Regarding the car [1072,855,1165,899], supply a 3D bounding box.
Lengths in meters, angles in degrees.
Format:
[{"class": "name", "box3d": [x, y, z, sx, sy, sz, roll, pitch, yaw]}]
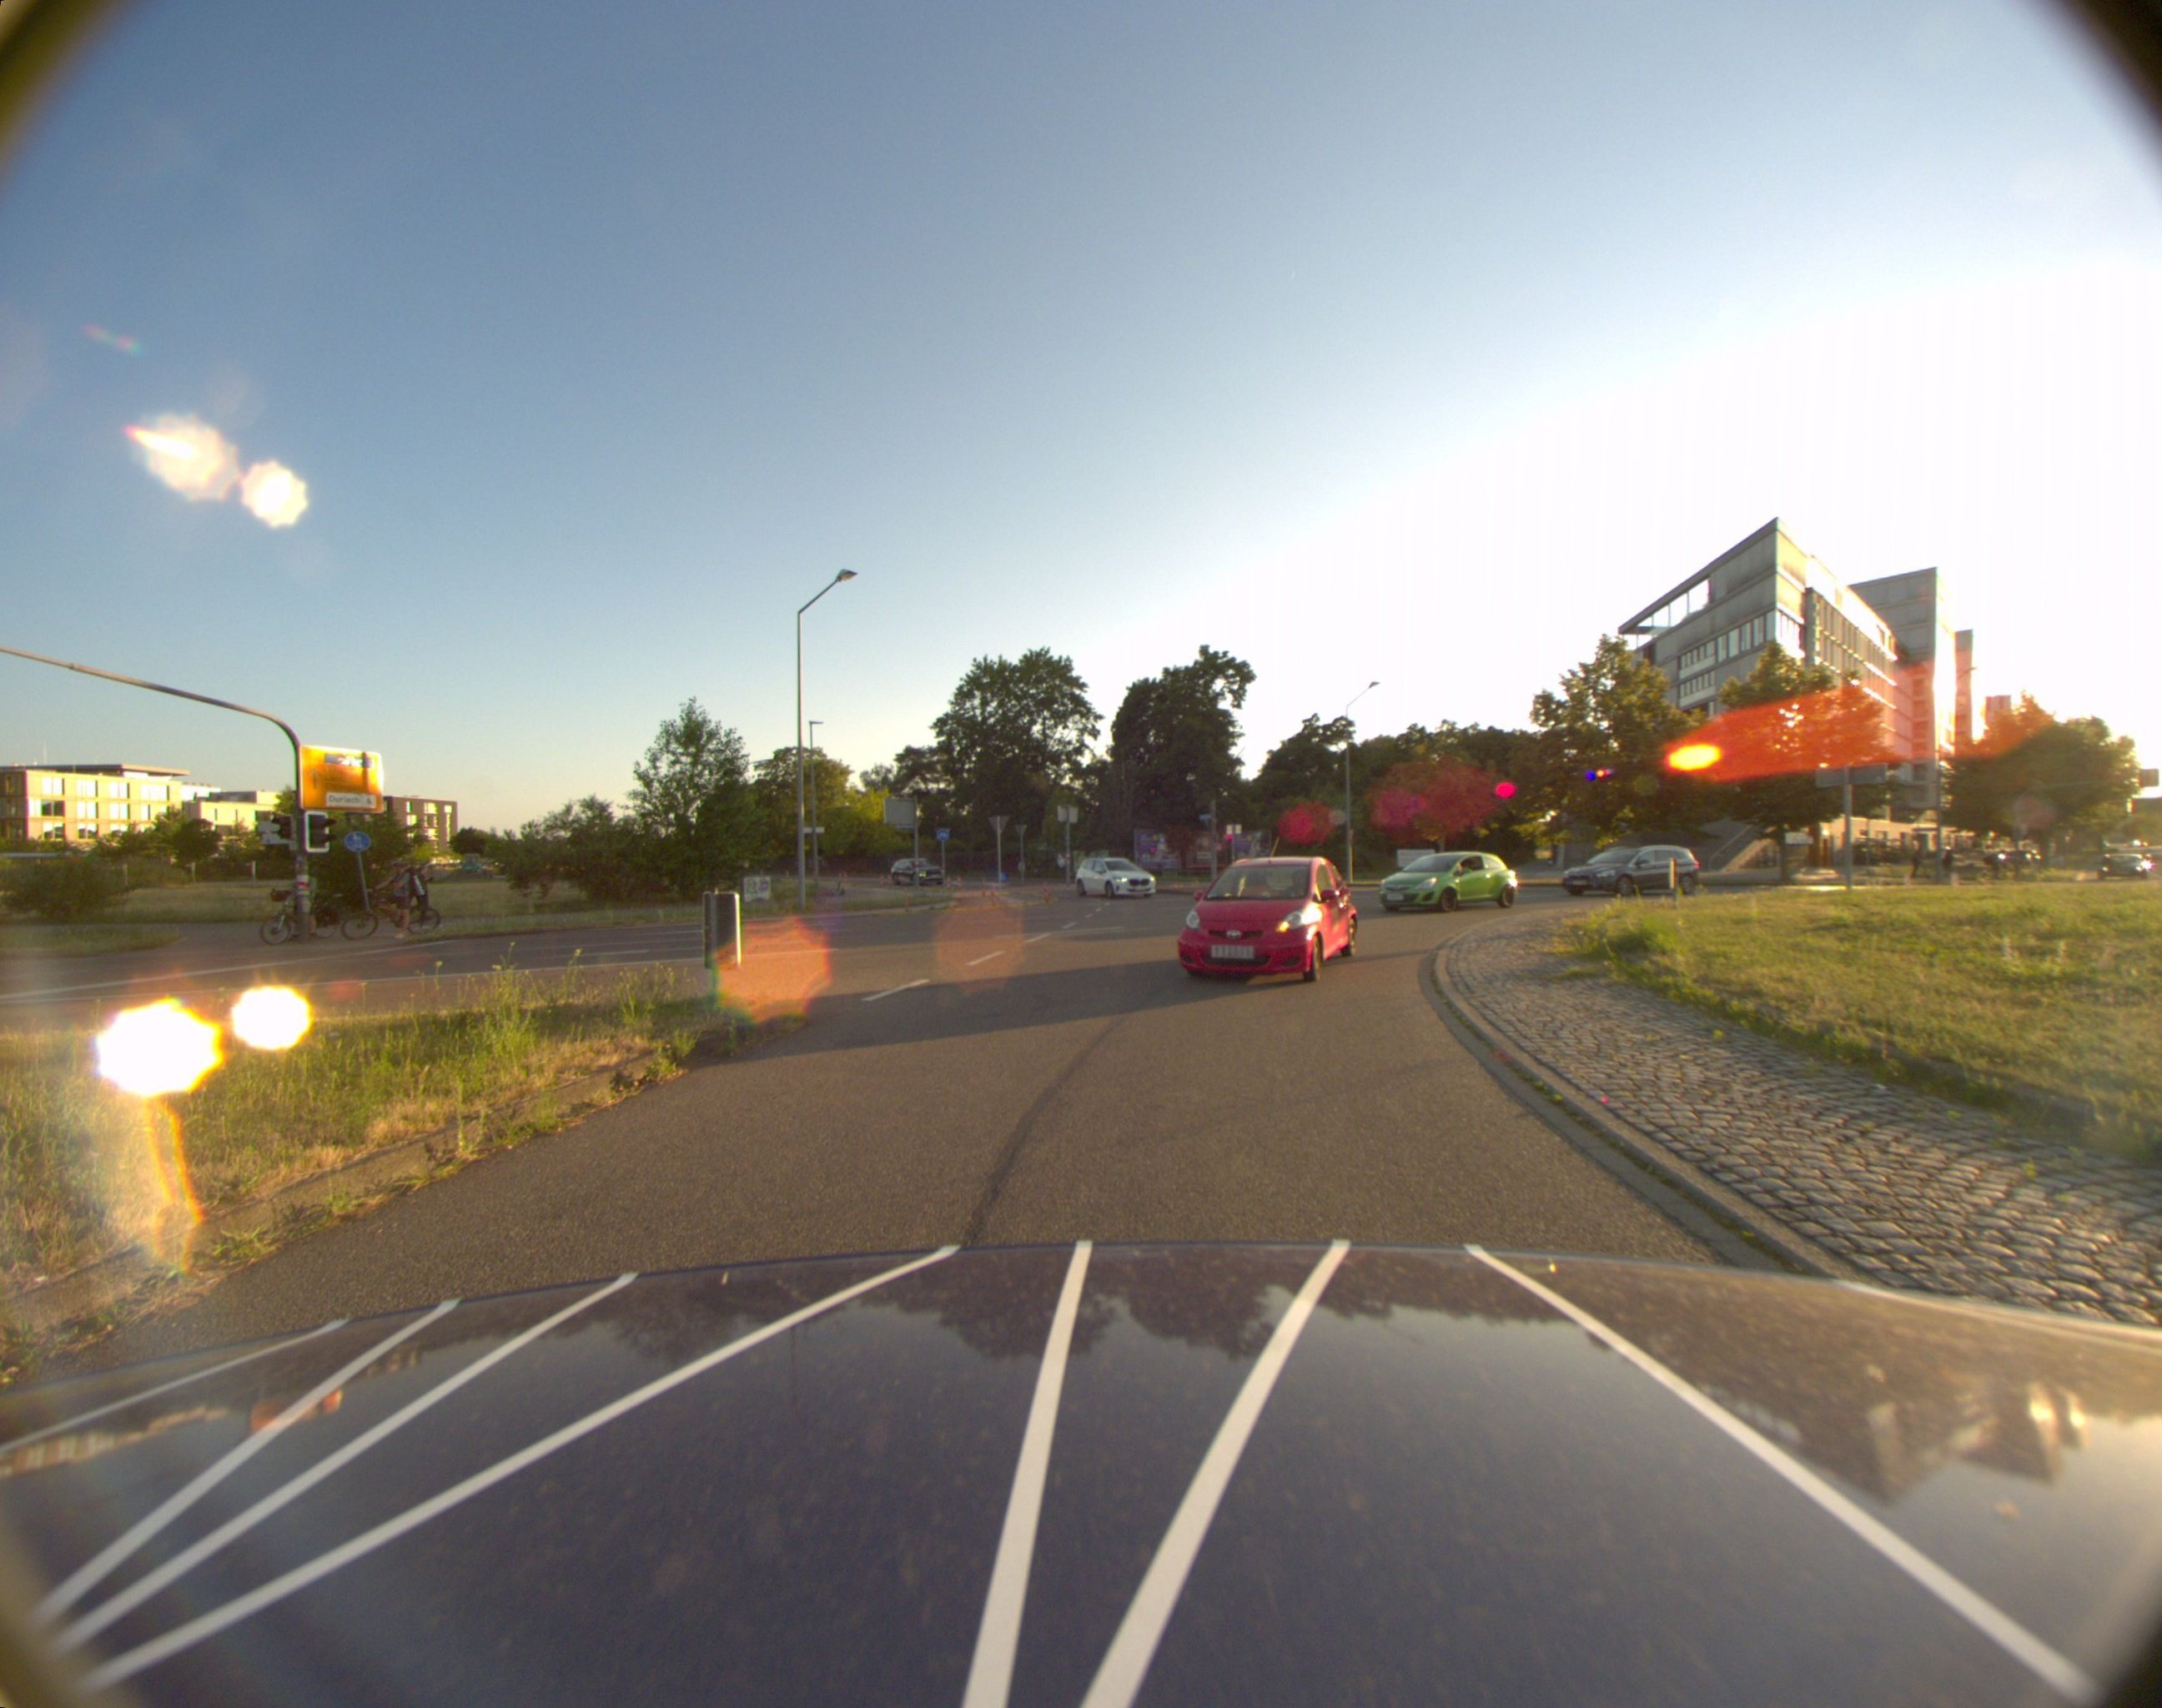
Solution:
[{"class": "car", "box3d": [1.433, 0.866, 30.656, 2.002, 1.597, 4.189, -1, 0, -25]}]

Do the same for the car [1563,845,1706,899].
[{"class": "car", "box3d": [18.019, 0.549, 24.727, 4.334, 1.568, 1.730, -1, 1, -22]}]

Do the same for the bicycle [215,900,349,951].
[{"class": "bicycle", "box3d": [-19.268, 1.696, 18.401, 0.708, 0.958, 2.109, -1, 2, 14]}]

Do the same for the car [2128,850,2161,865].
[{"class": "car", "box3d": [110.020, 0.336, 78.448, 4.008, 1.444, 1.994, -1, 1, -39]}]

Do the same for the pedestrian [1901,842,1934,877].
[{"class": "pedestrian", "box3d": [48.669, 0.294, 44.206, 0.776, 2.002, 0.998, -2, 1, -11]}]

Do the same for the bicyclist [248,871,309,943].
[{"class": "bicyclist", "box3d": [-19.327, 1.255, 18.314, 0.724, 1.680, 0.690, -1, 1, 12]}]

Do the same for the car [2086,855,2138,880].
[{"class": "car", "box3d": [60.015, 0.749, 44.284, 4.133, 1.371, 1.746, -1, 1, -37]}]

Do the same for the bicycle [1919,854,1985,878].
[{"class": "bicycle", "box3d": [47.091, 0.624, 41.125, 0.744, 1.237, 2.341, -2, 1, -41]}]

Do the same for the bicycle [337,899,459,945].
[{"class": "bicycle", "box3d": [-17.157, 1.677, 19.162, 0.708, 0.957, 2.149, -1, 0, 26]}]

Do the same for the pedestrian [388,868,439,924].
[{"class": "pedestrian", "box3d": [-19.820, 1.231, 22.579, 0.993, 1.581, 0.924, -1, 1, -35]}]

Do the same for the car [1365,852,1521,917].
[{"class": "car", "box3d": [9.117, 0.707, 19.067, 4.007, 1.412, 1.685, -1, 1, -33]}]

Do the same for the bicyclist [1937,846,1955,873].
[{"class": "bicyclist", "box3d": [46.978, 0.304, 41.267, 0.693, 1.432, 0.610, -2, 1, -42]}]

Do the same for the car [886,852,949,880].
[{"class": "car", "box3d": [-10.174, 0.707, 47.009, 2.004, 1.588, 4.302, -1, 1, -39]}]

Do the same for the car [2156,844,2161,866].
[{"class": "car", "box3d": [90.492, 0.088, 62.610, 5.316, 1.801, 1.995, 0, -2, -37]}]

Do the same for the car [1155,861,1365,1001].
[{"class": "car", "box3d": [2.605, 0.852, 10.253, 1.685, 1.412, 4.007, -1, 0, 29]}]

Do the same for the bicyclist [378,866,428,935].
[{"class": "bicyclist", "box3d": [-17.142, 1.163, 19.222, 0.723, 1.680, 0.690, -1, 1, 28]}]
